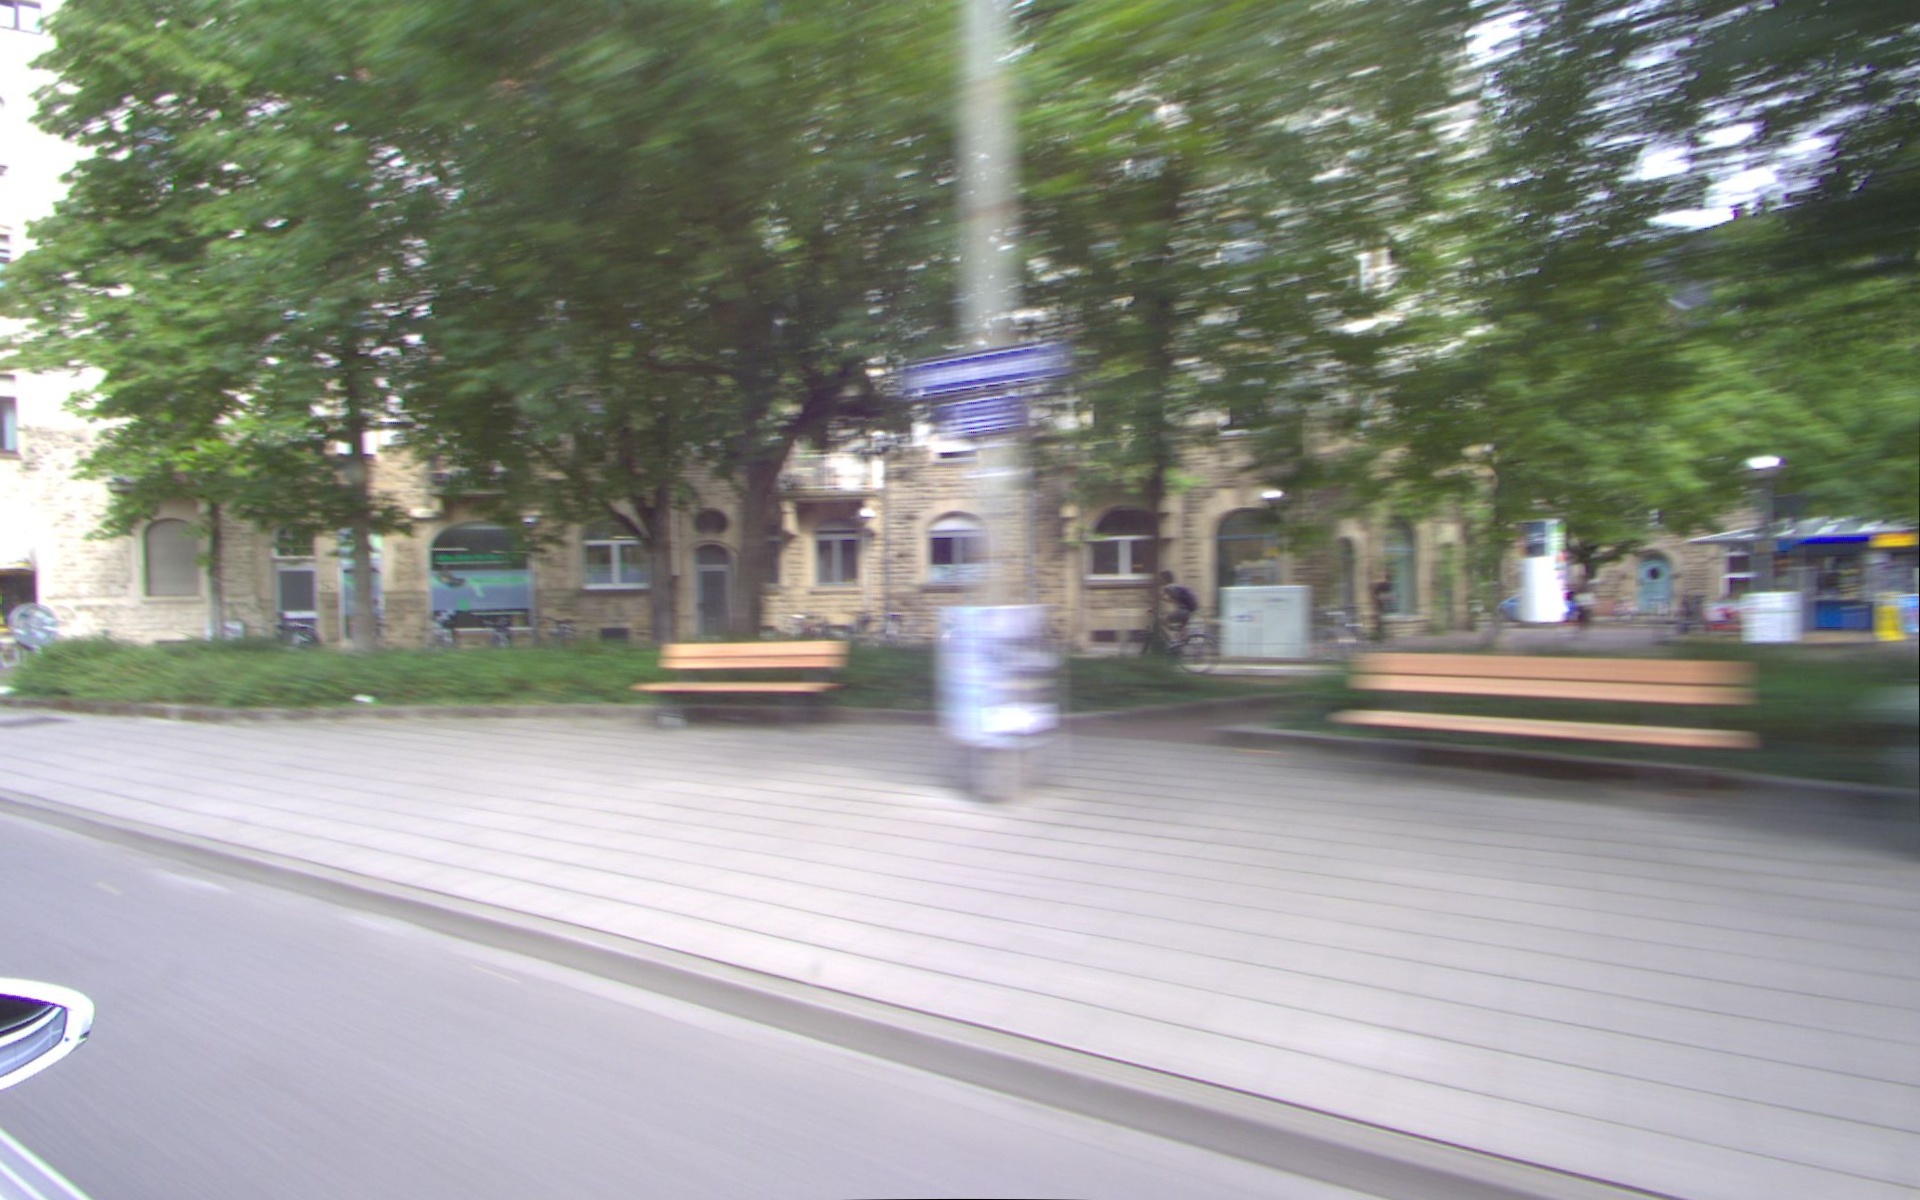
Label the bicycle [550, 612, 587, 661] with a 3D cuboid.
[{"bbox_3d":[-9.713,0.875,24.883,0.655,1.143,1.890,-1,1,-16],"label":"bicycle"}]

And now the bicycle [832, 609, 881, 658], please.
[{"bbox_3d":[-2.581,0.820,25.079,0.572,1.143,1.891,0,1,15],"label":"bicycle"}]

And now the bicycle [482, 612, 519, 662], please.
[{"bbox_3d":[-11.278,0.893,24.634,0.523,1.143,1.890,-1,1,-16],"label":"bicycle"}]

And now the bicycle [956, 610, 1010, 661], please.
[{"bbox_3d":[0.583,0.838,24.311,0.524,1.143,1.885,0,1,28],"label":"bicycle"}]

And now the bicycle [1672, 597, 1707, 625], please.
[{"bbox_3d":[30.794,0.458,42.243,1.873,1.132,0.604,-1,1,-35],"label":"bicycle"}]

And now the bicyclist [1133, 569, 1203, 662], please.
[{"bbox_3d":[3.726,0.267,17.919,1.120,1.627,0.644,0,2,25],"label":"bicyclist"}]

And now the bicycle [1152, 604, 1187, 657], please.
[{"bbox_3d":[4.842,0.683,23.088,0.523,1.143,1.889,0,1,20],"label":"bicycle"}]

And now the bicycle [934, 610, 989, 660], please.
[{"bbox_3d":[0.052,0.835,24.548,0.524,1.143,1.885,0,1,28],"label":"bicycle"}]

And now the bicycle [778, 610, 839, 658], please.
[{"bbox_3d":[-3.781,0.829,25.129,0.589,1.143,1.888,0,1,23],"label":"bicycle"}]

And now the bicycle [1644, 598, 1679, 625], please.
[{"bbox_3d":[30.345,0.501,43.314,1.873,1.132,0.604,-1,1,-35],"label":"bicycle"}]

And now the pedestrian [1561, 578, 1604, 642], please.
[{"bbox_3d":[16.289,0.257,26.205,0.825,1.645,0.727,-1,1,-38],"label":"pedestrian"}]

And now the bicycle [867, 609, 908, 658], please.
[{"bbox_3d":[-1.790,0.814,24.938,0.583,1.143,1.892,0,1,9],"label":"bicycle"}]

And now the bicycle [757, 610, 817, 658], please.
[{"bbox_3d":[-4.343,0.835,25.316,0.554,1.143,1.888,0,1,23],"label":"bicycle"}]

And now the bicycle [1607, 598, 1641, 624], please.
[{"bbox_3d":[29.321,0.480,44.193,1.873,1.132,0.604,-1,1,-35],"label":"bicycle"}]

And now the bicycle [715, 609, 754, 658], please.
[{"bbox_3d":[-5.693,0.833,25.374,0.522,1.143,1.893,-1,1,1],"label":"bicycle"}]

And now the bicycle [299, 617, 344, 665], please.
[{"bbox_3d":[-15.255,0.964,23.958,0.441,1.069,1.646,-1,1,-16],"label":"bicycle"}]

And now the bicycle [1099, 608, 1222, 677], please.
[{"bbox_3d":[3.591,0.738,17.989,2.068,1.167,0.652,0,1,25],"label":"bicycle"}]

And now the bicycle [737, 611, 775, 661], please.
[{"bbox_3d":[-5.152,0.881,25.341,0.522,1.143,1.892,-1,2,1],"label":"bicycle"}]

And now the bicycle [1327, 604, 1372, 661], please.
[{"bbox_3d":[8.288,0.662,21.266,0.525,1.143,1.883,0,1,33],"label":"bicycle"}]

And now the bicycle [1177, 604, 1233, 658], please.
[{"bbox_3d":[5.536,0.682,22.516,0.526,1.143,1.880,0,1,37],"label":"bicycle"}]

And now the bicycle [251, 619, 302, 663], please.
[{"bbox_3d":[-16.464,0.978,24.154,0.593,0.985,1.667,-1,1,-20],"label":"bicycle"}]

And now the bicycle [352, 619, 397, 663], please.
[{"bbox_3d":[-14.126,0.973,24.212,0.523,0.985,1.646,-1,1,-16],"label":"bicycle"}]

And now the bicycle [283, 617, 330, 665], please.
[{"bbox_3d":[-15.655,0.969,24.027,0.441,1.069,1.646,-1,1,-16],"label":"bicycle"}]

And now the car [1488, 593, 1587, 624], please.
[{"bbox_3d":[27.073,0.381,47.019,1.751,1.414,3.677,-1,1,-37],"label":"car"}]

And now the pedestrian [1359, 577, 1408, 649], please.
[{"bbox_3d":[10.218,0.305,24.176,0.822,1.698,0.730,-1,1,-25],"label":"pedestrian"}]

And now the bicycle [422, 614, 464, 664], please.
[{"bbox_3d":[-12.532,0.924,24.311,0.523,1.143,1.890,-1,1,-16],"label":"bicycle"}]
